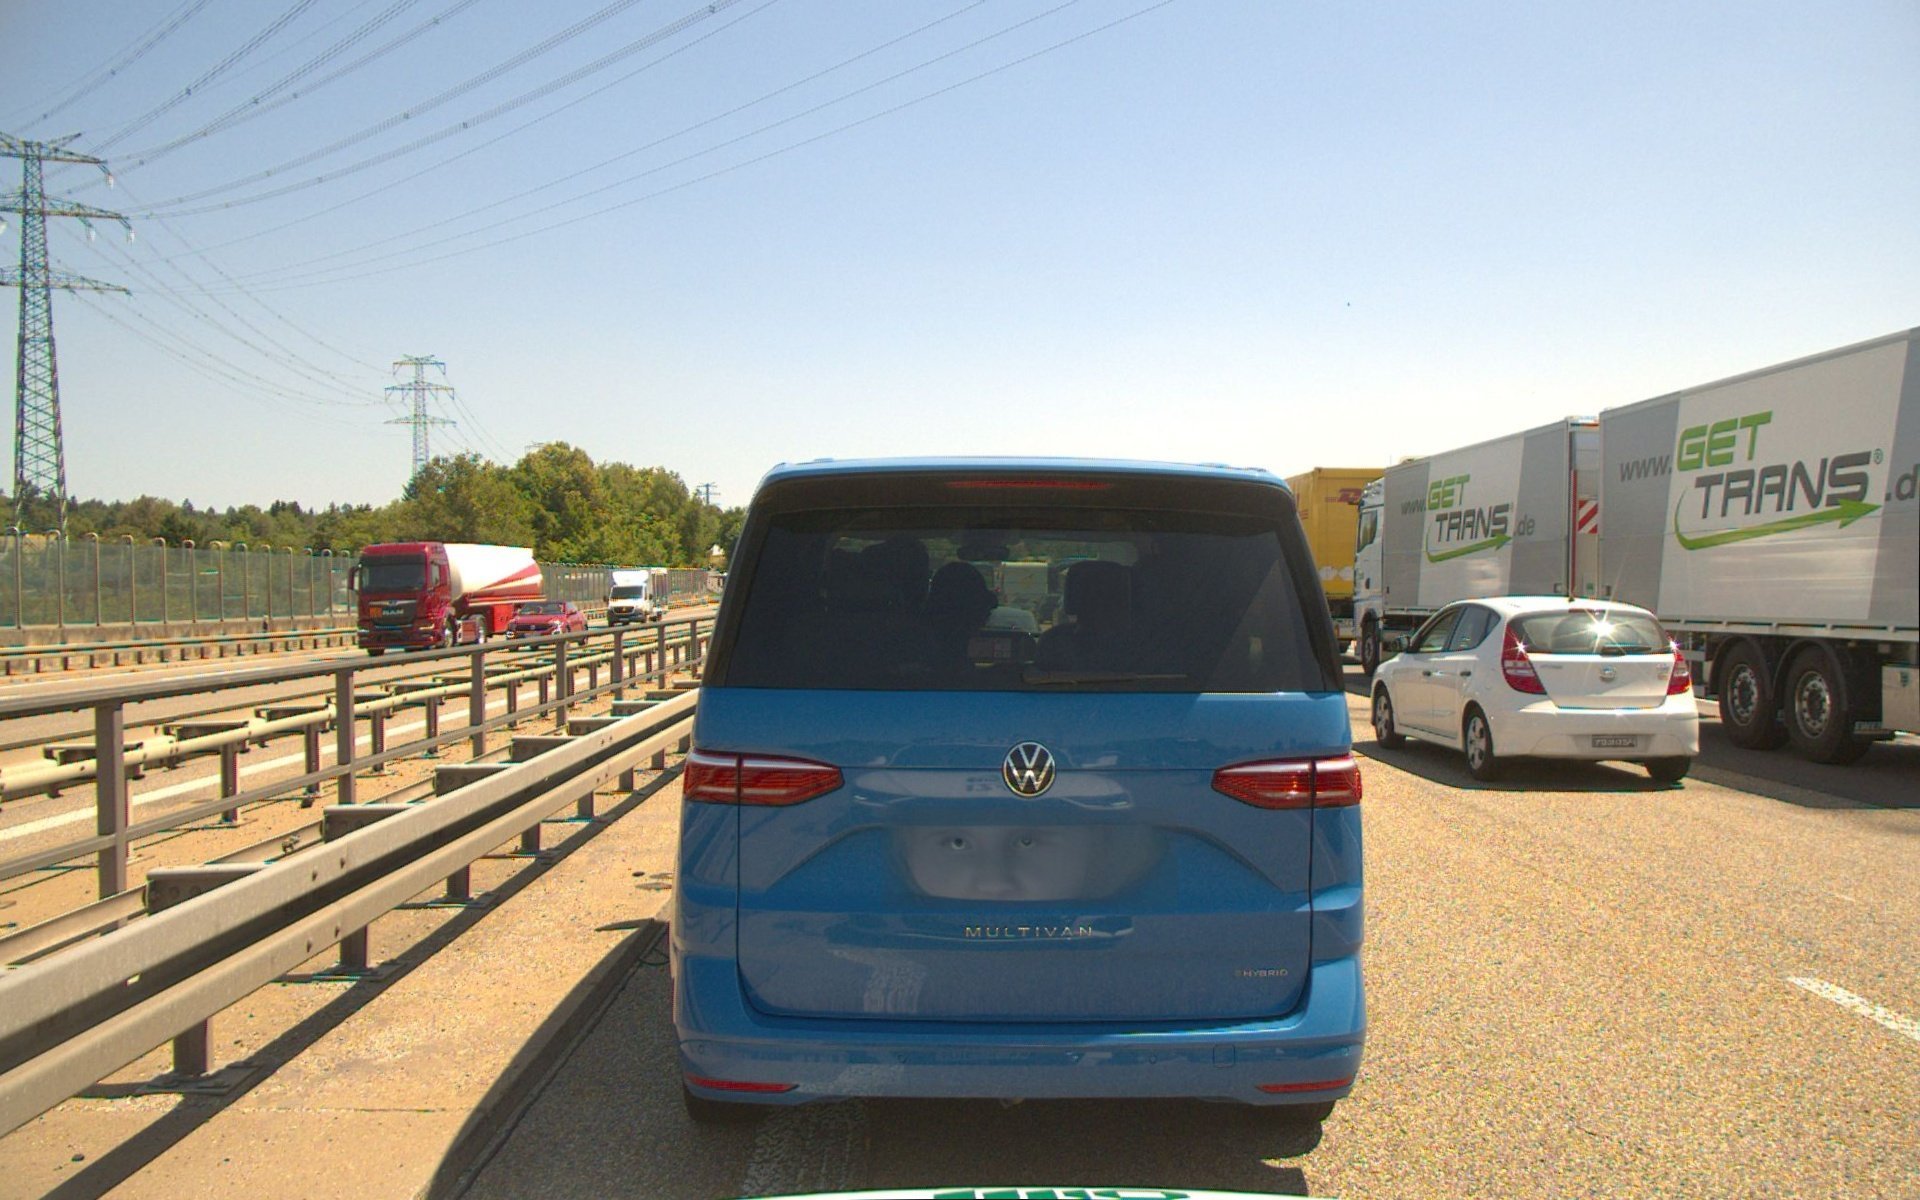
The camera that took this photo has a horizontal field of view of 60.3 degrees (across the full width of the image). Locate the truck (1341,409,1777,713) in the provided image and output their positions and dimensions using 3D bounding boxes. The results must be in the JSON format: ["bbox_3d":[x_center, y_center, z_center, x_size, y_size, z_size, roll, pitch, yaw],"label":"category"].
[{"bbox_3d":[8.616,-0.520,25.793,2.603,3.711,11.008,0,0,-1],"label":"truck"}]

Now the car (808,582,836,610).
[{"bbox_3d":[-10.626,-0.310,127.397,1.862,2.049,3.999,1,0,-1],"label":"car"}]

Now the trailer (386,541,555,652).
[{"bbox_3d":[-16.830,-0.145,57.921,2.430,3.402,12.070,-2,0,-1],"label":"trailer"}]

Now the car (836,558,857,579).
[{"bbox_3d":[-11.620,-3.200,169.386,1.953,2.049,4.311,1,0,-1],"label":"car"}]

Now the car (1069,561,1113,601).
[{"bbox_3d":[6.933,-0.985,87.828,1.953,2.049,3.999,1,0,-1],"label":"car"}]

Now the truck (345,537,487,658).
[{"bbox_3d":[-16.720,-0.092,51.219,2.447,3.424,5.833,-2,0,-1],"label":"truck"}]

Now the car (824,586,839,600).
[{"bbox_3d":[-18.391,-0.993,236.805,1.953,2.049,3.999,1,0,-1],"label":"car"}]

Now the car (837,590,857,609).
[{"bbox_3d":[-12.407,-0.040,181.708,1.953,2.049,4.311,1,0,-1],"label":"car"}]

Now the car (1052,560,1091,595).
[{"bbox_3d":[6.598,-1.327,98.235,1.953,2.049,4.460,-1,0,-1],"label":"car"}]

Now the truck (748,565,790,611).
[{"bbox_3d":[-14.838,-0.919,128.852,2.510,3.418,8.860,-2,0,-2],"label":"truck"}]

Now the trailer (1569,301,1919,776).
[{"bbox_3d":[8.864,-0.511,16.291,2.643,3.765,8.013,0,0,-1],"label":"trailer"}]

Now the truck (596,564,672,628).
[{"bbox_3d":[-17.650,-0.207,90.112,2.468,3.164,8.720,-3,0,-2],"label":"truck"}]

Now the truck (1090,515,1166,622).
[{"bbox_3d":[7.477,-1.347,74.279,2.613,4.562,6.848,1,0,-1],"label":"truck"}]

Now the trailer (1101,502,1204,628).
[{"bbox_3d":[7.591,-1.332,66.661,2.583,4.595,11.299,1,0,-1],"label":"trailer"}]

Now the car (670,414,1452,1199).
[{"bbox_3d":[0.213,0.526,5.857,1.783,1.890,4.074,1,0,-1],"label":"car"}]

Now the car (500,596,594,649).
[{"bbox_3d":[-12.565,0.654,50.545,1.826,1.469,4.130,-3,0,-1],"label":"car"}]

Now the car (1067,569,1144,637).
[{"bbox_3d":[4.422,0.075,50.827,1.922,2.028,4.292,0,0,-1],"label":"car"}]

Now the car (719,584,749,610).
[{"bbox_3d":[-19.638,-0.294,143.890,2.040,2.187,4.311,-2,1,-1],"label":"car"}]

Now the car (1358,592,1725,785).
[{"bbox_3d":[5.007,0.669,14.920,1.752,1.481,4.292,0,0,-1],"label":"car"}]

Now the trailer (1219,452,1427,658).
[{"bbox_3d":[8.391,-0.949,39.500,2.806,4.313,9.009,1,0,-1],"label":"trailer"}]

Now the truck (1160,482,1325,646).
[{"bbox_3d":[8.190,-0.966,49.522,2.778,4.317,11.008,1,0,-1],"label":"truck"}]

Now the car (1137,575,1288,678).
[{"bbox_3d":[4.330,0.418,28.963,1.922,1.673,4.292,0,0,-1],"label":"car"}]
